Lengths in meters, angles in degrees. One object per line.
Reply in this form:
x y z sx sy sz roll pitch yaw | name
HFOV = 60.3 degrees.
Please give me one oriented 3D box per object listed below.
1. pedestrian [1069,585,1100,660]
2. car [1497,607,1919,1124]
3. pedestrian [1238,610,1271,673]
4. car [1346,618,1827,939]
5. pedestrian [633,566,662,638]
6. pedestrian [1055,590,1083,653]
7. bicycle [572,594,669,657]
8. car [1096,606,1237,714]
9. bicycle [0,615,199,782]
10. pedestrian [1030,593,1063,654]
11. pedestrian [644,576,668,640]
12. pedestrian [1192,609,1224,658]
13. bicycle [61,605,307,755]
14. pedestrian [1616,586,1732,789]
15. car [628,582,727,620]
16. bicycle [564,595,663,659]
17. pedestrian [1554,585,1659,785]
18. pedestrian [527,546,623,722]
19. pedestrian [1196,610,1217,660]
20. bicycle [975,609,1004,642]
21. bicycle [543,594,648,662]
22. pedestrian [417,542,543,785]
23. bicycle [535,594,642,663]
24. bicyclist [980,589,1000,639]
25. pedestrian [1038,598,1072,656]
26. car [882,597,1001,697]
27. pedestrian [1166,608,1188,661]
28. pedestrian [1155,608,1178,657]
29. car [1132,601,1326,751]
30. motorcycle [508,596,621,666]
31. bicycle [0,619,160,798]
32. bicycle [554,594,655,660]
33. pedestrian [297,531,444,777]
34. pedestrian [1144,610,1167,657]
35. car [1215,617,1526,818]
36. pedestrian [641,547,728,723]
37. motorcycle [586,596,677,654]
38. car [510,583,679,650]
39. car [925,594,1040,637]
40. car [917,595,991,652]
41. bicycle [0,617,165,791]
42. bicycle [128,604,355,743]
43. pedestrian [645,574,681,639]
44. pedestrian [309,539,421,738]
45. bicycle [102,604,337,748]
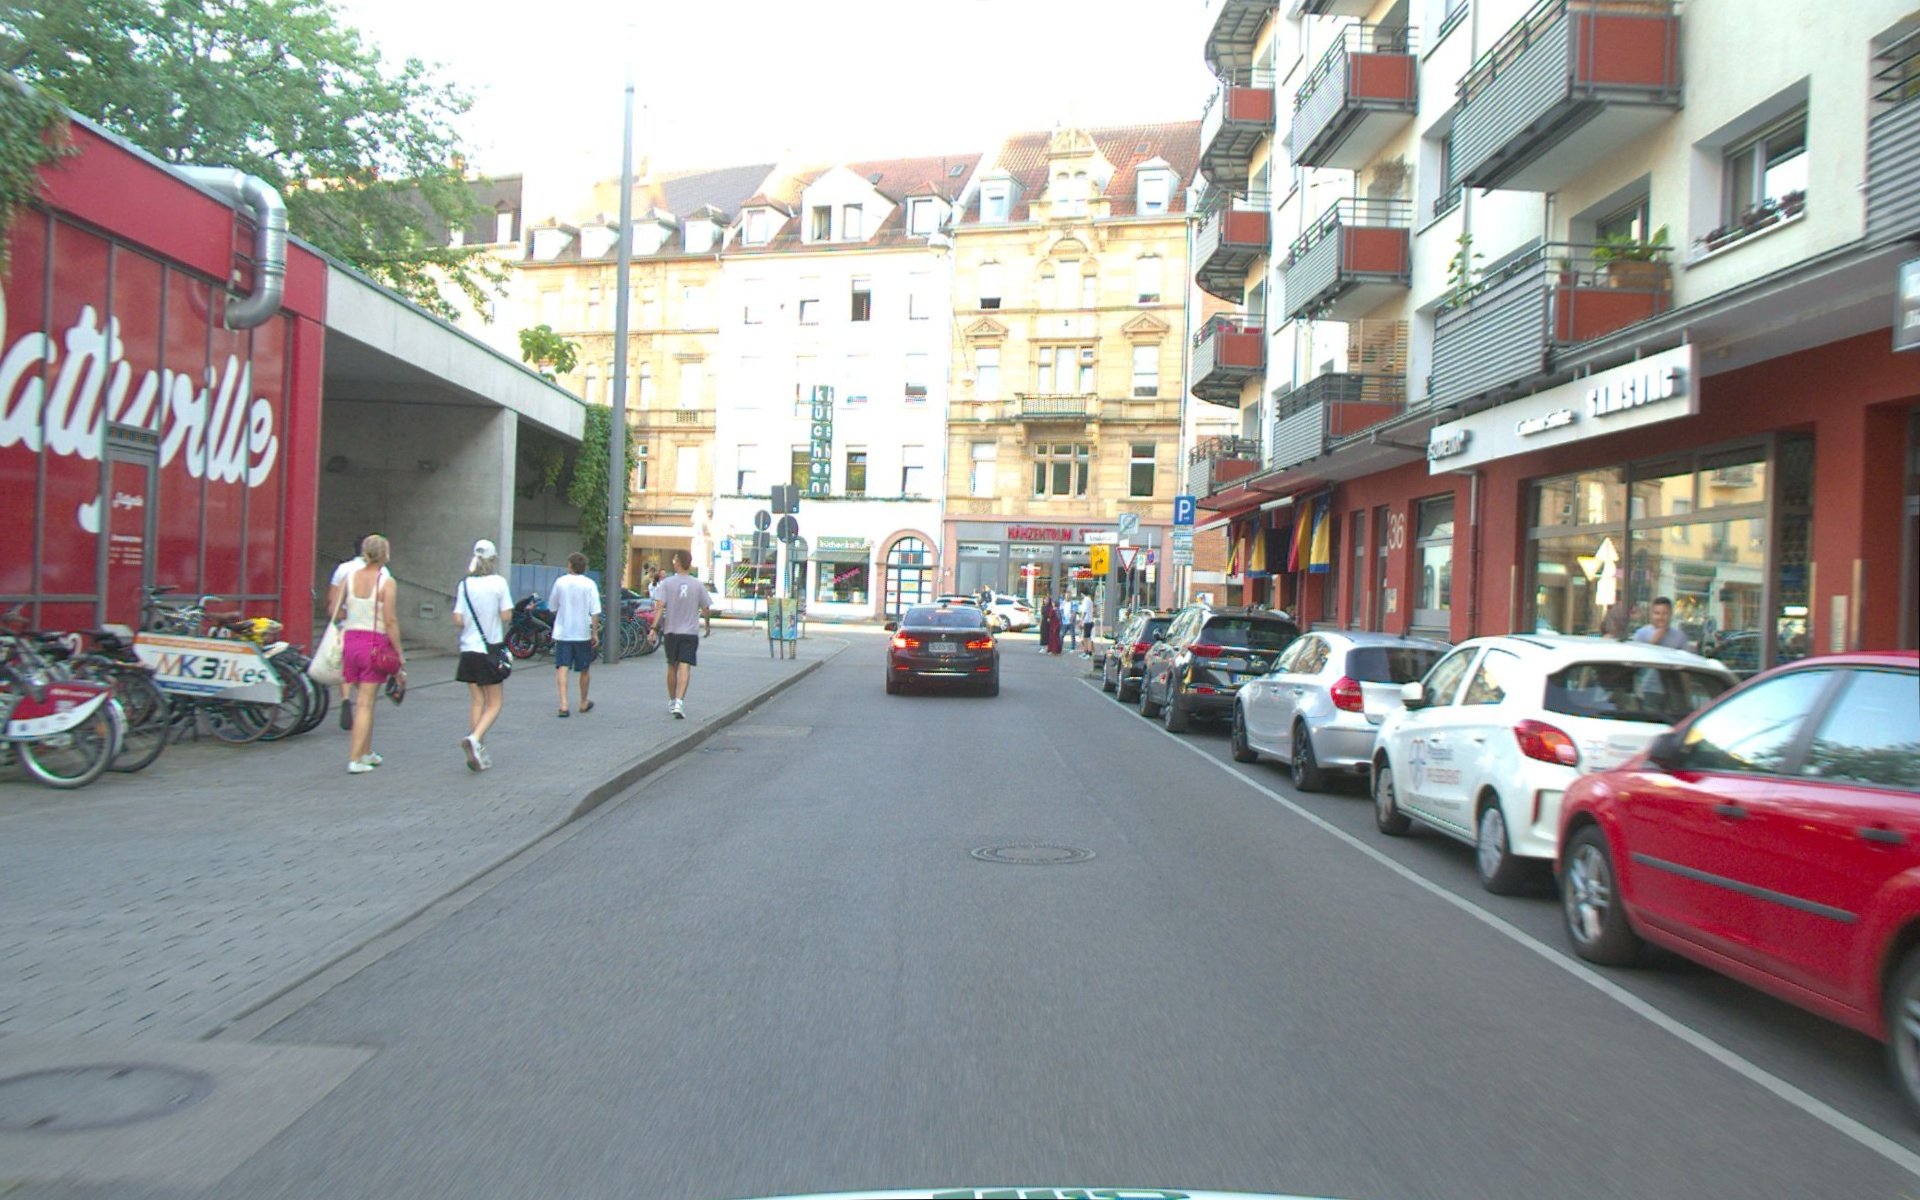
3.258 0.580 43.230 0.662 1.910 0.701 2 0 12 | pedestrian
3.794 0.893 6.390 1.678 1.538 4.650 4 0 -2 | car
6.541 0.918 36.730 0.594 1.371 0.696 0 0 -2 | pedestrian
3.843 0.981 10.925 1.574 1.538 4.048 4 0 0 | car
-8.423 0.044 44.578 0.571 1.915 0.634 1 0 5 | pedestrian
3.110 0.617 47.212 0.595 1.776 0.666 1 0 -17 | pedestrian
-6.721 0.504 32.790 1.758 1.127 0.500 3 0 -1 | bicycle
3.463 0.955 28.525 1.729 1.528 4.790 4 0 0 | car
-6.530 0.696 11.965 1.758 1.127 0.500 2 0 -2 | bicycle
2.421 0.653 46.345 0.711 1.637 0.649 3 0 -10 | pedestrian
-8.067 0.213 43.915 0.490 1.672 0.521 1 0 1 | pedestrian
6.764 0.916 45.100 0.607 1.301 0.698 1 0 36 | pedestrian
-6.369 0.642 13.608 1.757 1.127 0.500 3 0 2 | bicycle
6.160 0.734 14.305 0.634 1.690 0.794 -1 0 1 | pedestrian
-12.363 0.029 72.366 3.905 1.537 1.800 1 -1 22 | car
-6.662 0.510 31.866 1.759 1.127 0.500 3 0 -4 | bicycle
5.615 0.721 14.386 0.634 1.690 0.655 -1 0 1 | pedestrian
-4.245 0.367 18.297 0.726 1.844 1.008 4 0 -1 | pedestrian
6.453 0.910 43.325 0.479 1.299 0.522 1 0 12 | pedestrian
1.088 0.918 60.584 0.527 1.127 1.792 2 0 -16 | bicycle
-6.702 0.509 30.413 1.757 1.127 0.500 3 0 1 | bicycle
-3.699 0.469 12.806 0.636 1.780 0.985 2 0 -1 | pedestrian
-6.691 0.512 29.818 1.758 1.127 0.500 3 0 -2 | bicycle
1.107 0.497 60.569 0.515 1.787 0.617 2 0 -16 | bicyclist
2.617 0.733 45.710 0.722 1.540 0.649 3 0 -10 | pedestrian
-0.284 0.708 27.317 1.729 1.399 4.790 3 0 0 | car
5.470 0.864 41.751 0.481 1.326 0.418 -1 0 -1 | pedestrian
5.672 0.892 45.361 0.604 1.306 0.660 1 0 7 | pedestrian
3.544 0.932 22.635 1.729 1.670 4.790 4 0 -1 | car
-6.788 0.525 28.384 1.765 1.082 0.764 3 0 25 | motorcycle
-6.389 0.701 11.085 1.758 1.127 0.500 2 0 -1 | bicycle
-6.691 0.510 31.162 1.760 1.127 0.499 3 0 -6 | bicycle
-4.490 0.397 12.651 0.737 1.780 0.846 3 0 -1 | pedestrian
5.504 0.936 46.655 0.604 1.276 0.736 1 0 5 | pedestrian
3.790 1.009 16.102 1.665 1.477 4.456 4 0 -3 | car
-3.161 0.388 19.036 0.729 1.926 1.050 3 0 0 | pedestrian
-6.831 0.526 34.417 1.731 1.120 0.560 3 0 -35 | motorcycle
-8.952 0.403 40.764 3.913 1.527 1.887 1 0 -9 | car
0.908 0.615 66.698 4.263 1.589 1.868 1 -1 22 | car
-0.117 0.626 46.816 1.838 1.498 4.002 1 0 3 | car
-6.520 0.695 11.429 1.758 1.127 0.500 2 0 -2 | bicycle
-6.373 0.642 14.710 1.757 1.127 0.500 3 0 2 | bicycle
-8.151 0.179 45.374 0.661 1.776 0.654 1 0 39 | pedestrian
-5.544 0.353 15.449 0.702 1.785 0.848 2 0 -2 | pedestrian
-6.361 0.642 14.240 1.757 1.127 0.500 3 0 2 | bicycle
